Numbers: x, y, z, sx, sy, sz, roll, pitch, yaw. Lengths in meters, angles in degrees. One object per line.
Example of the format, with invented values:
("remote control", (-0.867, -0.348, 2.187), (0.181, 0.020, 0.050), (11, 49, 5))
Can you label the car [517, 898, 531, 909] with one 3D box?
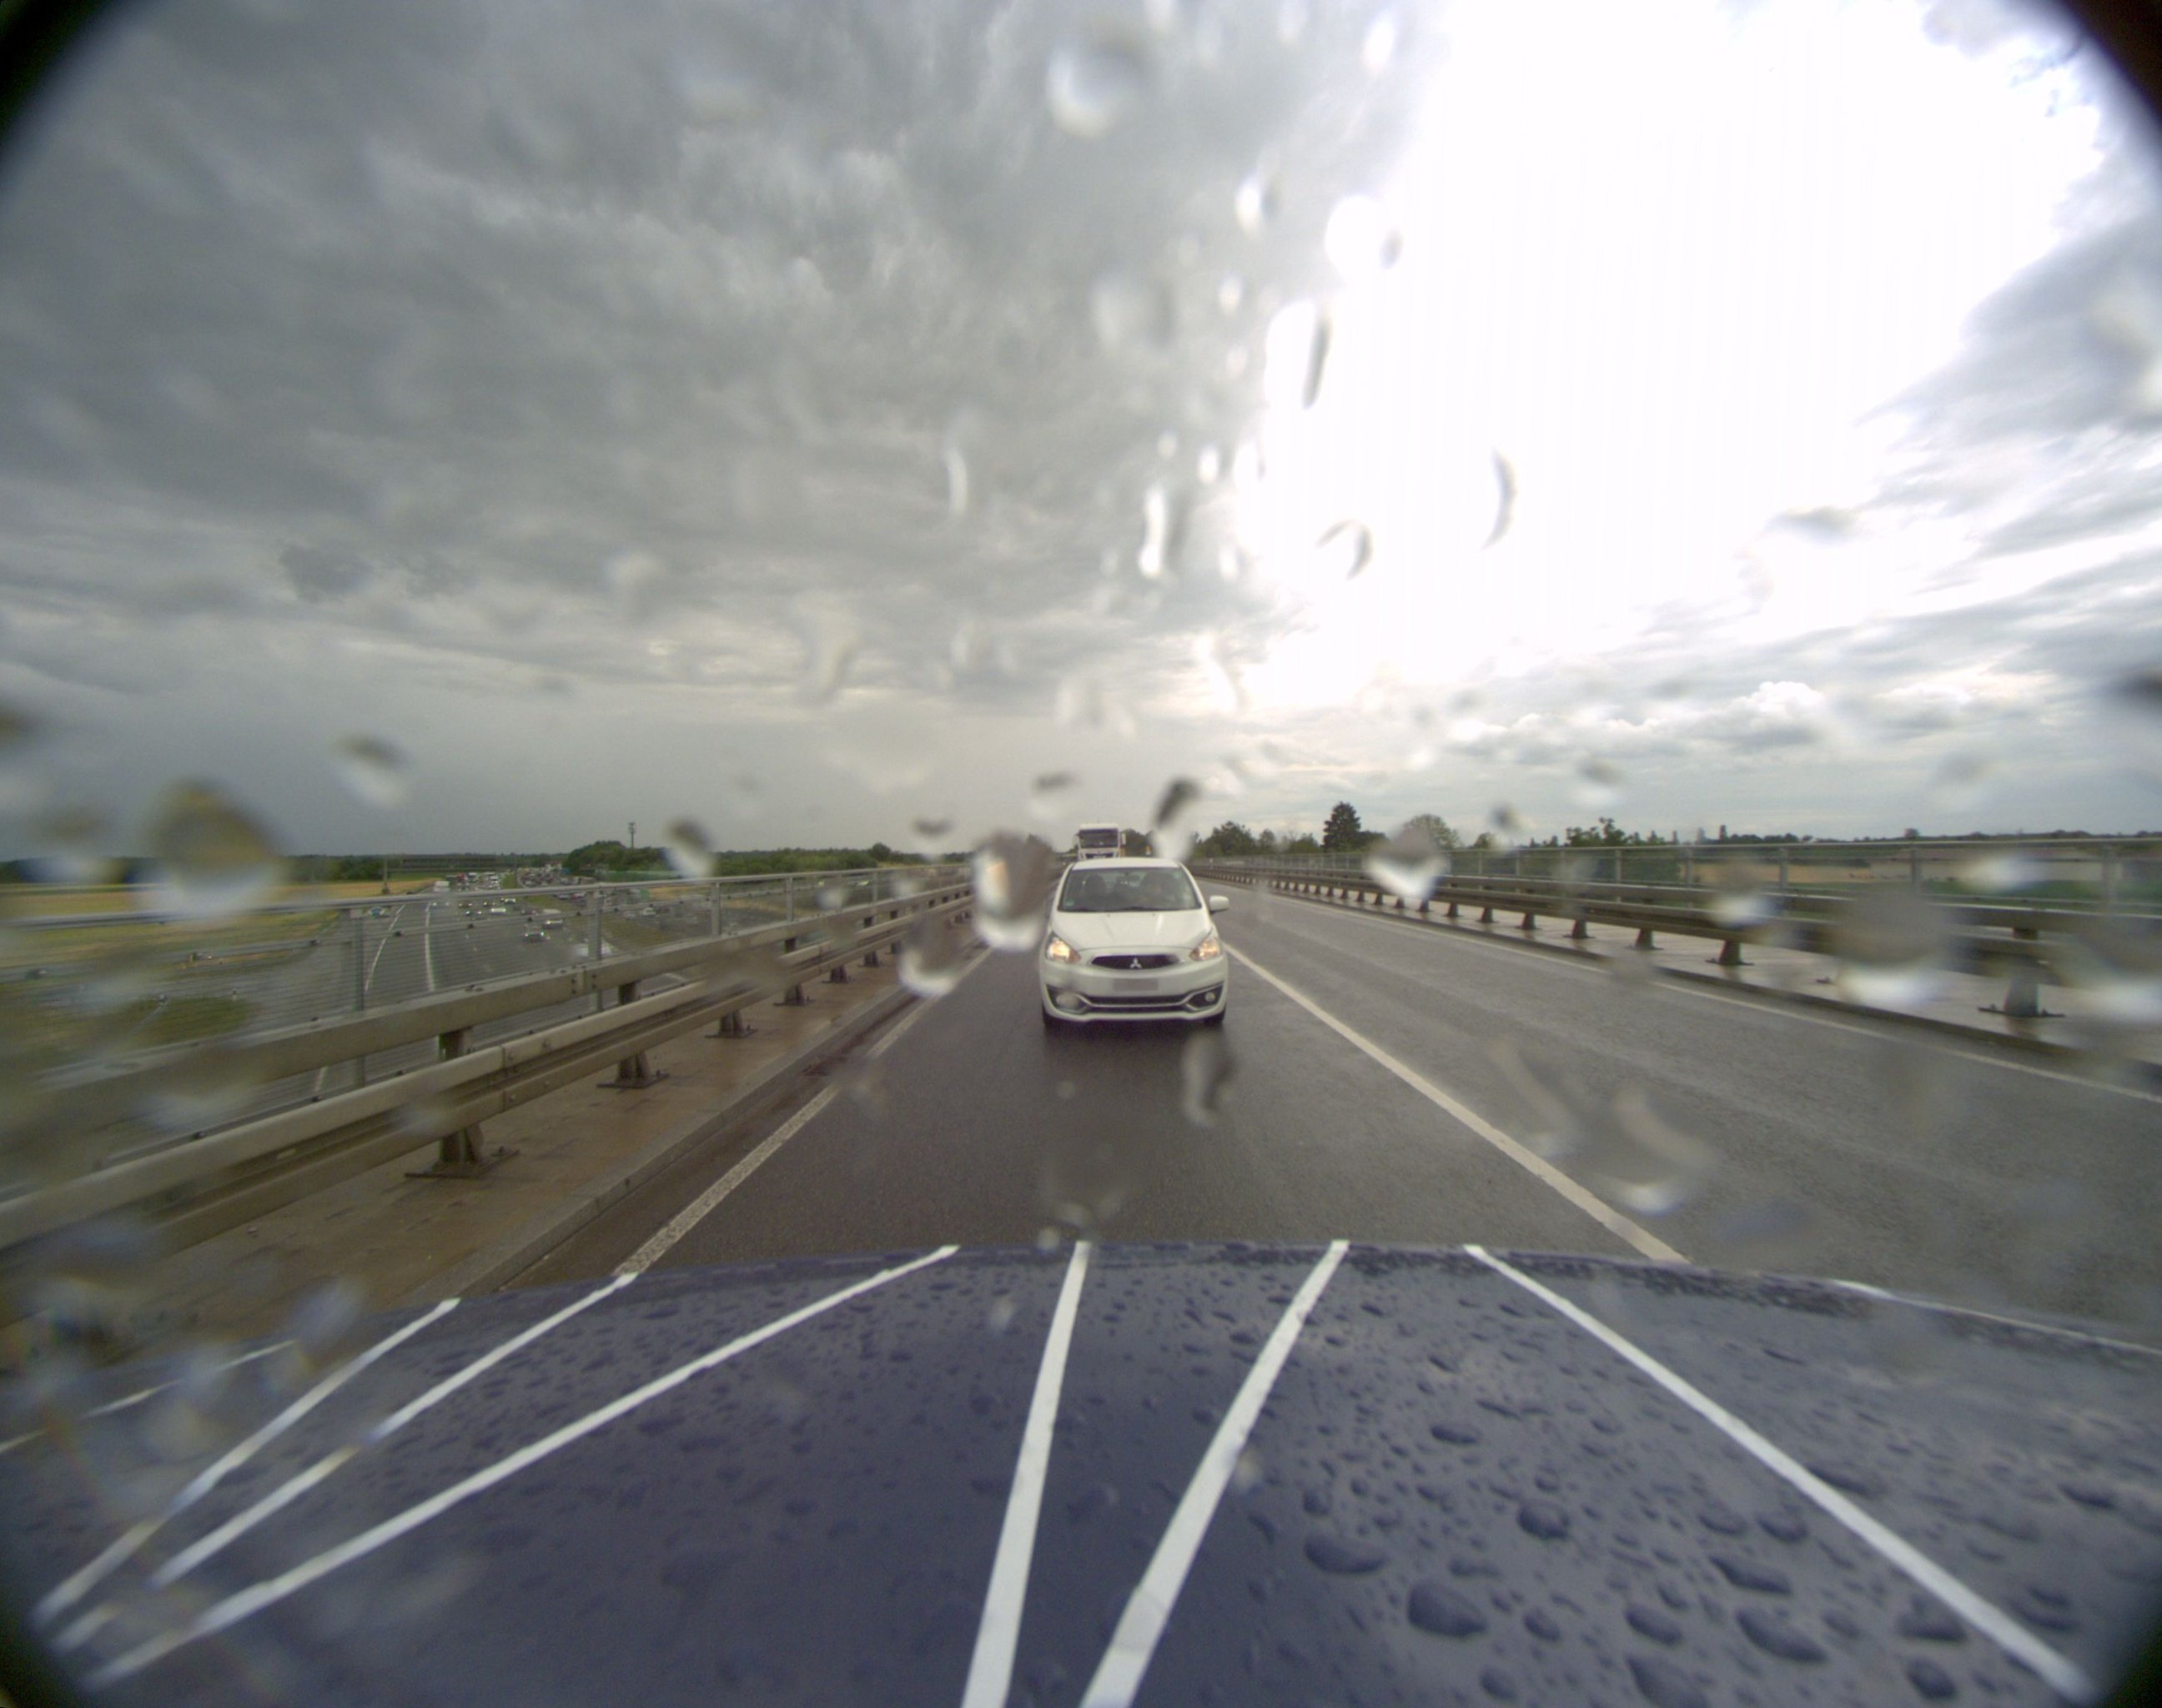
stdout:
("car", (-106.113, 9.418, 144.647), (1.860, 1.659, 4.712), (-3, 1, -40))

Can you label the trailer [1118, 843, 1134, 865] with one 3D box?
("trailer", (8.684, 0.024, 147.299), (2.689, 4.051, 8.486), (-2, 0, 2))

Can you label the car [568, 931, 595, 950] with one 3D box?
("car", (-55.696, 9.621, 84.693), (1.818, 1.659, 4.712), (-3, 1, -40))

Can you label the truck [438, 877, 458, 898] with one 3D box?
("truck", (-152.382, 8.031, 183.073), (2.799, 4.591, 12.724), (-3, 1, -36))

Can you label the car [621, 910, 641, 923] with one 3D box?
("car", (-68.076, 9.425, 114.961), (1.860, 1.659, 4.712), (-3, 1, -40))

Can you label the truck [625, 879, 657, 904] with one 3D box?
("truck", (-98.234, 8.356, 169.542), (3.302, 5.135, 15.588), (-3, 1, -40))

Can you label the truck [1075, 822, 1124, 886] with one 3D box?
("truck", (1.016, -0.165, 46.764), (2.630, 3.537, 8.474), (-2, 2, 0))

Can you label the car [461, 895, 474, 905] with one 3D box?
("car", (-117.576, 8.736, 145.662), (1.860, 1.659, 4.712), (-3, 1, -40))

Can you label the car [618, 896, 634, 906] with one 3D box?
("car", (-85.763, 8.865, 143.178), (1.860, 1.659, 4.712), (-3, 1, -40))

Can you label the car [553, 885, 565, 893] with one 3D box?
("car", (-129.917, 8.677, 189.086), (1.860, 1.764, 4.712), (-3, 1, -40))

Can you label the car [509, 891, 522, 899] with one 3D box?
("car", (-121.976, 8.837, 163.841), (1.860, 1.659, 4.712), (-3, 1, -40))

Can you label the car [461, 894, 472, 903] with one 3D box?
("car", (-136.265, 9.823, 168.436), (1.860, 1.659, 4.712), (-3, 1, -40))

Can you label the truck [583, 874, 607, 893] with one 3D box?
("truck", (-143.624, 8.633, 224.434), (3.499, 5.321, 15.588), (-3, 1, -40))

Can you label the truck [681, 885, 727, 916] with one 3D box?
("truck", (-64.512, 7.803, 129.663), (3.611, 4.511, 15.589), (-3, 1, -39))

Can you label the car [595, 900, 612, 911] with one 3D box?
("car", (-84.647, 9.061, 134.655), (1.860, 1.659, 4.712), (-3, 1, -40))

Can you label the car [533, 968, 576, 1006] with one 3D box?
("car", (-34.200, 8.561, 49.327), (1.818, 1.659, 4.712), (-3, 1, -40))

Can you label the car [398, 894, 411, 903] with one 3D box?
("car", (-147.299, 9.686, 165.416), (1.860, 1.659, 4.712), (-3, 1, -40))

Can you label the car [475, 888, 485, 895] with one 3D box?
("car", (-154.876, 9.761, 195.931), (1.860, 1.659, 4.712), (-3, 1, -40))

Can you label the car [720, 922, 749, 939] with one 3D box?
("car", (-41.135, 9.064, 90.173), (1.860, 1.659, 4.712), (-3, 1, -40))

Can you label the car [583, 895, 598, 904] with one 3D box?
("car", (-97.650, 9.021, 151.249), (1.860, 1.659, 4.712), (-3, 1, -40))

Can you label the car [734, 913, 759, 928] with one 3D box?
("car", (-45.000, 8.921, 102.216), (1.860, 1.659, 4.712), (-3, 1, -40))

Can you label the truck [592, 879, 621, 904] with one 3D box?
("truck", (-110.820, 8.701, 177.369), (3.302, 5.411, 15.588), (-3, 1, -40))

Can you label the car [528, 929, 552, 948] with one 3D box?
("car", (-62.260, 9.725, 87.451), (1.818, 1.659, 4.712), (-3, 1, -40))

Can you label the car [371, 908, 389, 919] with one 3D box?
("car", (-113.478, 9.556, 123.024), (1.818, 1.427, 4.712), (-3, 1, -41))

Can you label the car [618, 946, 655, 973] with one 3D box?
("car", (-37.800, 8.907, 64.546), (1.818, 1.659, 4.712), (-3, 1, -40))

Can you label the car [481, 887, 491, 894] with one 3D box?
("car", (-146.536, 8.996, 187.089), (1.860, 1.659, 4.712), (-3, 1, -40))

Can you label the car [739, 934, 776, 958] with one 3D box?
("car", (-30.425, 8.586, 71.323), (1.860, 1.659, 4.712), (-3, 1, -40))

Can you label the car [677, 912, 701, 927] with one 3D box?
("car", (-54.243, 9.054, 105.142), (1.860, 1.659, 4.712), (-3, 1, -40))

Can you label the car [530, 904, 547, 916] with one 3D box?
("car", (-90.478, 9.258, 126.733), (1.860, 1.659, 4.712), (-3, 1, -40))

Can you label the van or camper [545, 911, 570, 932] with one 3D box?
("van or camper", (-72.211, 9.283, 104.698), (2.063, 2.436, 7.311), (-3, 1, -40))

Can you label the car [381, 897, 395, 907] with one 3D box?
("car", (-138.462, 9.538, 151.809), (1.860, 1.659, 4.712), (-3, 1, -40))

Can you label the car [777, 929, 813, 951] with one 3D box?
("car", (-28.440, 8.477, 75.445), (1.860, 1.659, 4.712), (-3, 1, -40))

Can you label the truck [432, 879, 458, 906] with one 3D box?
("truck", (-125.292, 7.576, 149.765), (2.799, 4.871, 12.724), (-3, 1, -36))

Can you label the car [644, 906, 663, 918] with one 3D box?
("car", (-70.176, 9.451, 124.579), (1.860, 1.659, 4.712), (-3, 1, -40))

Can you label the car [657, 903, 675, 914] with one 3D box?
("car", (-72.953, 9.541, 133.610), (1.860, 1.659, 4.712), (-3, 1, -40))

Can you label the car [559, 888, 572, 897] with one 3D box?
("car", (-116.211, 8.592, 171.250), (1.860, 1.764, 4.712), (-3, 1, -40))

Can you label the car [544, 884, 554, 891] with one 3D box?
("car", (-143.295, 9.117, 204.571), (1.860, 1.764, 4.712), (-3, 1, -40))

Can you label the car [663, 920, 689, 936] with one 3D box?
("car", (-50.809, 9.235, 95.272), (1.860, 1.659, 4.712), (-3, 1, -40))

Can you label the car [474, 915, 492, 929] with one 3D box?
("car", (-87.021, 9.932, 110.491), (1.860, 1.659, 4.712), (-3, 1, -40))

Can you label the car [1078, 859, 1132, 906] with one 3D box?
("car", (0.792, 0.912, 26.124), (1.675, 1.366, 4.129), (-2, 0, 1))

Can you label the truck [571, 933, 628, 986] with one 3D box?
("truck", (-37.874, 8.155, 59.623), (2.601, 3.161, 8.374), (-3, 1, -39))

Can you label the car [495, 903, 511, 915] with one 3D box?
("car", (-99.898, 9.470, 131.273), (1.860, 1.659, 4.712), (-3, 1, -40))

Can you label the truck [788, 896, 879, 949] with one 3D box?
("truck", (-26.316, 6.953, 79.946), (3.611, 4.511, 15.589), (-3, 1, -39))

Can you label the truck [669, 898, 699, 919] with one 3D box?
("truck", (-63.065, 8.567, 120.661), (2.216, 2.948, 9.284), (-3, 1, -40))

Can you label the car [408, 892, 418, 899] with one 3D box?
("car", (-156.536, 9.657, 178.054), (1.818, 1.427, 4.712), (-3, 1, -41))

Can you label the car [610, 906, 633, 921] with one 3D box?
("car", (-62.147, 8.069, 102.720), (1.860, 1.659, 4.712), (-3, 1, -40))

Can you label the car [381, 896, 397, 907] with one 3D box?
("car", (-126.466, 8.678, 138.959), (1.860, 1.659, 4.712), (-3, 1, -40))

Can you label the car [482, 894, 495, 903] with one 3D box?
("car", (-117.180, 8.757, 150.270), (1.860, 1.659, 4.712), (-3, 1, -40))

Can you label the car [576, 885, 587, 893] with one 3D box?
("car", (-122.836, 8.562, 186.840), (1.860, 1.764, 4.712), (-3, 1, -40))

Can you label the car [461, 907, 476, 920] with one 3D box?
("car", (-100.418, 9.732, 124.583), (1.860, 1.659, 4.712), (-3, 1, -40))

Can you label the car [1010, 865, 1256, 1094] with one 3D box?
("car", (0.401, 0.917, 7.422), (1.675, 1.476, 4.129), (-2, 0, 1))
